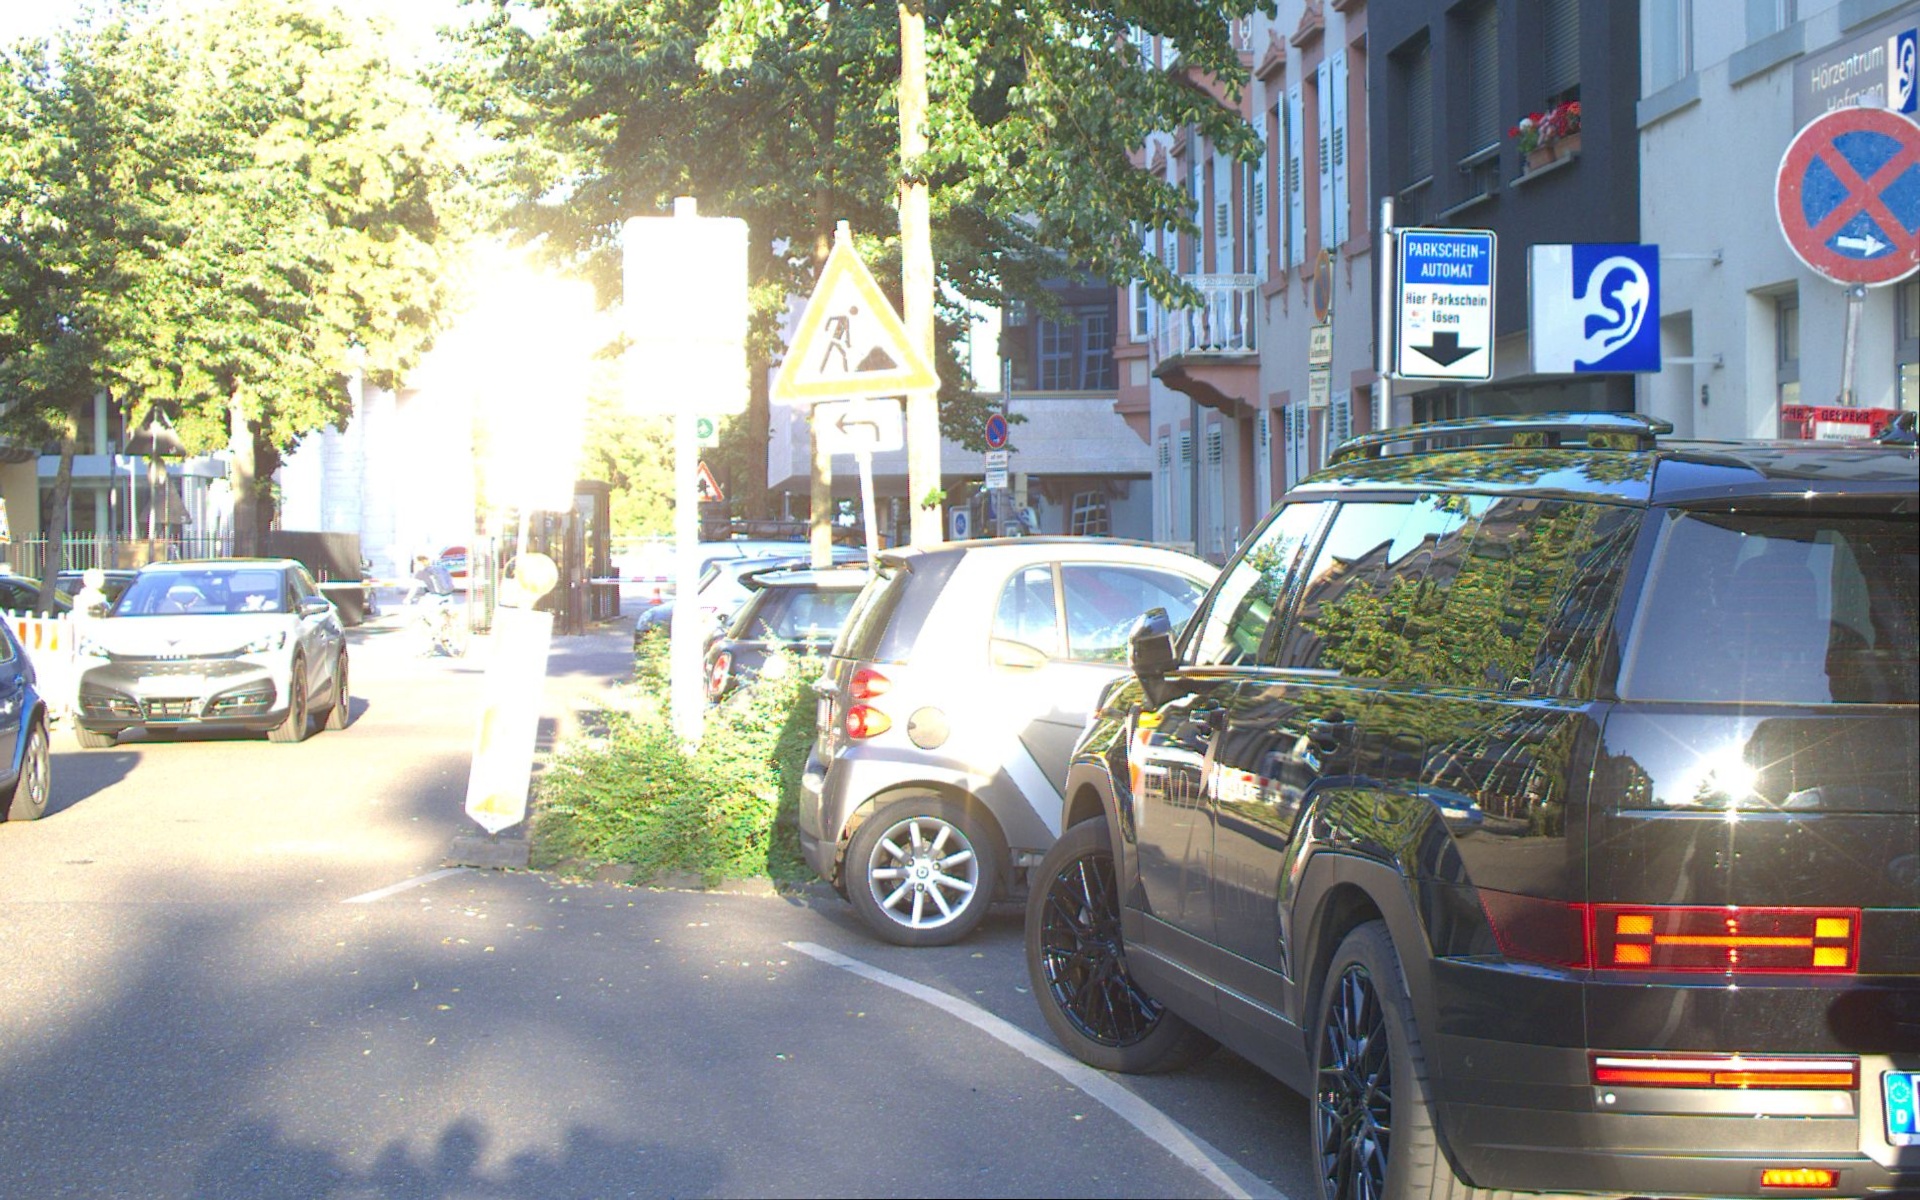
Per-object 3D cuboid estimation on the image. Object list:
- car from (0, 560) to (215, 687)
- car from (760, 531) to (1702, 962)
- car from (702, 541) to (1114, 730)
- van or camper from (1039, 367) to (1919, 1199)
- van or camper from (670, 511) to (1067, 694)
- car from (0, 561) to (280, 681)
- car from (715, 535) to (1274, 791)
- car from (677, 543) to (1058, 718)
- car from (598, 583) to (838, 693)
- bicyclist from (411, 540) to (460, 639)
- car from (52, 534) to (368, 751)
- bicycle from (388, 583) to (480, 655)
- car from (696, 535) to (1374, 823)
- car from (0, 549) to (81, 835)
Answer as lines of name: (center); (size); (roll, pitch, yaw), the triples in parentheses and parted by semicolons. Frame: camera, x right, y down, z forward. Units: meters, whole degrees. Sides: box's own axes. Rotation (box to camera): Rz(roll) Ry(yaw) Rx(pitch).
car: (-12.301, 0.303, 46.678); (3.987, 1.678, 1.891); (0, 1, -1)
car: (1.035, 0.521, 13.769); (3.469, 1.570, 1.508); (-1, 1, -12)
car: (-0.534, 0.316, 32.153); (3.684, 1.664, 1.859); (1, 1, -5)
van or camper: (1.511, 0.479, 8.049); (1.889, 1.801, 4.462); (0, 1, -9)
van or camper: (-1.099, 0.017, 39.676); (4.439, 1.999, 1.859); (1, 1, -5)
car: (-11.937, 0.281, 49.380); (3.987, 1.678, 1.891); (0, 1, -1)
car: (0.179, 0.417, 23.910); (3.684, 1.664, 1.859); (1, 1, -5)
car: (-0.971, 0.287, 34.547); (3.684, 1.664, 1.859); (1, 1, -5)
car: (-3.608, 0.543, 51.765); (1.855, 1.563, 3.691); (1, 1, 30)
bicyclist: (-8.563, -0.183, 56.114); (0.497, 1.600, 0.764); (-1, 1, -35)
car: (-6.498, 0.312, 30.237); (1.873, 1.692, 4.322); (-3, 1, -2)
bicycle: (-8.607, 0.304, 56.192); (0.513, 1.129, 2.279); (-1, 1, -35)
car: (0.394, 0.466, 21.372); (3.994, 1.664, 1.859); (1, 1, -5)
car: (-6.089, 0.529, 18.526); (1.688, 1.558, 4.119); (-2, 1, -1)
